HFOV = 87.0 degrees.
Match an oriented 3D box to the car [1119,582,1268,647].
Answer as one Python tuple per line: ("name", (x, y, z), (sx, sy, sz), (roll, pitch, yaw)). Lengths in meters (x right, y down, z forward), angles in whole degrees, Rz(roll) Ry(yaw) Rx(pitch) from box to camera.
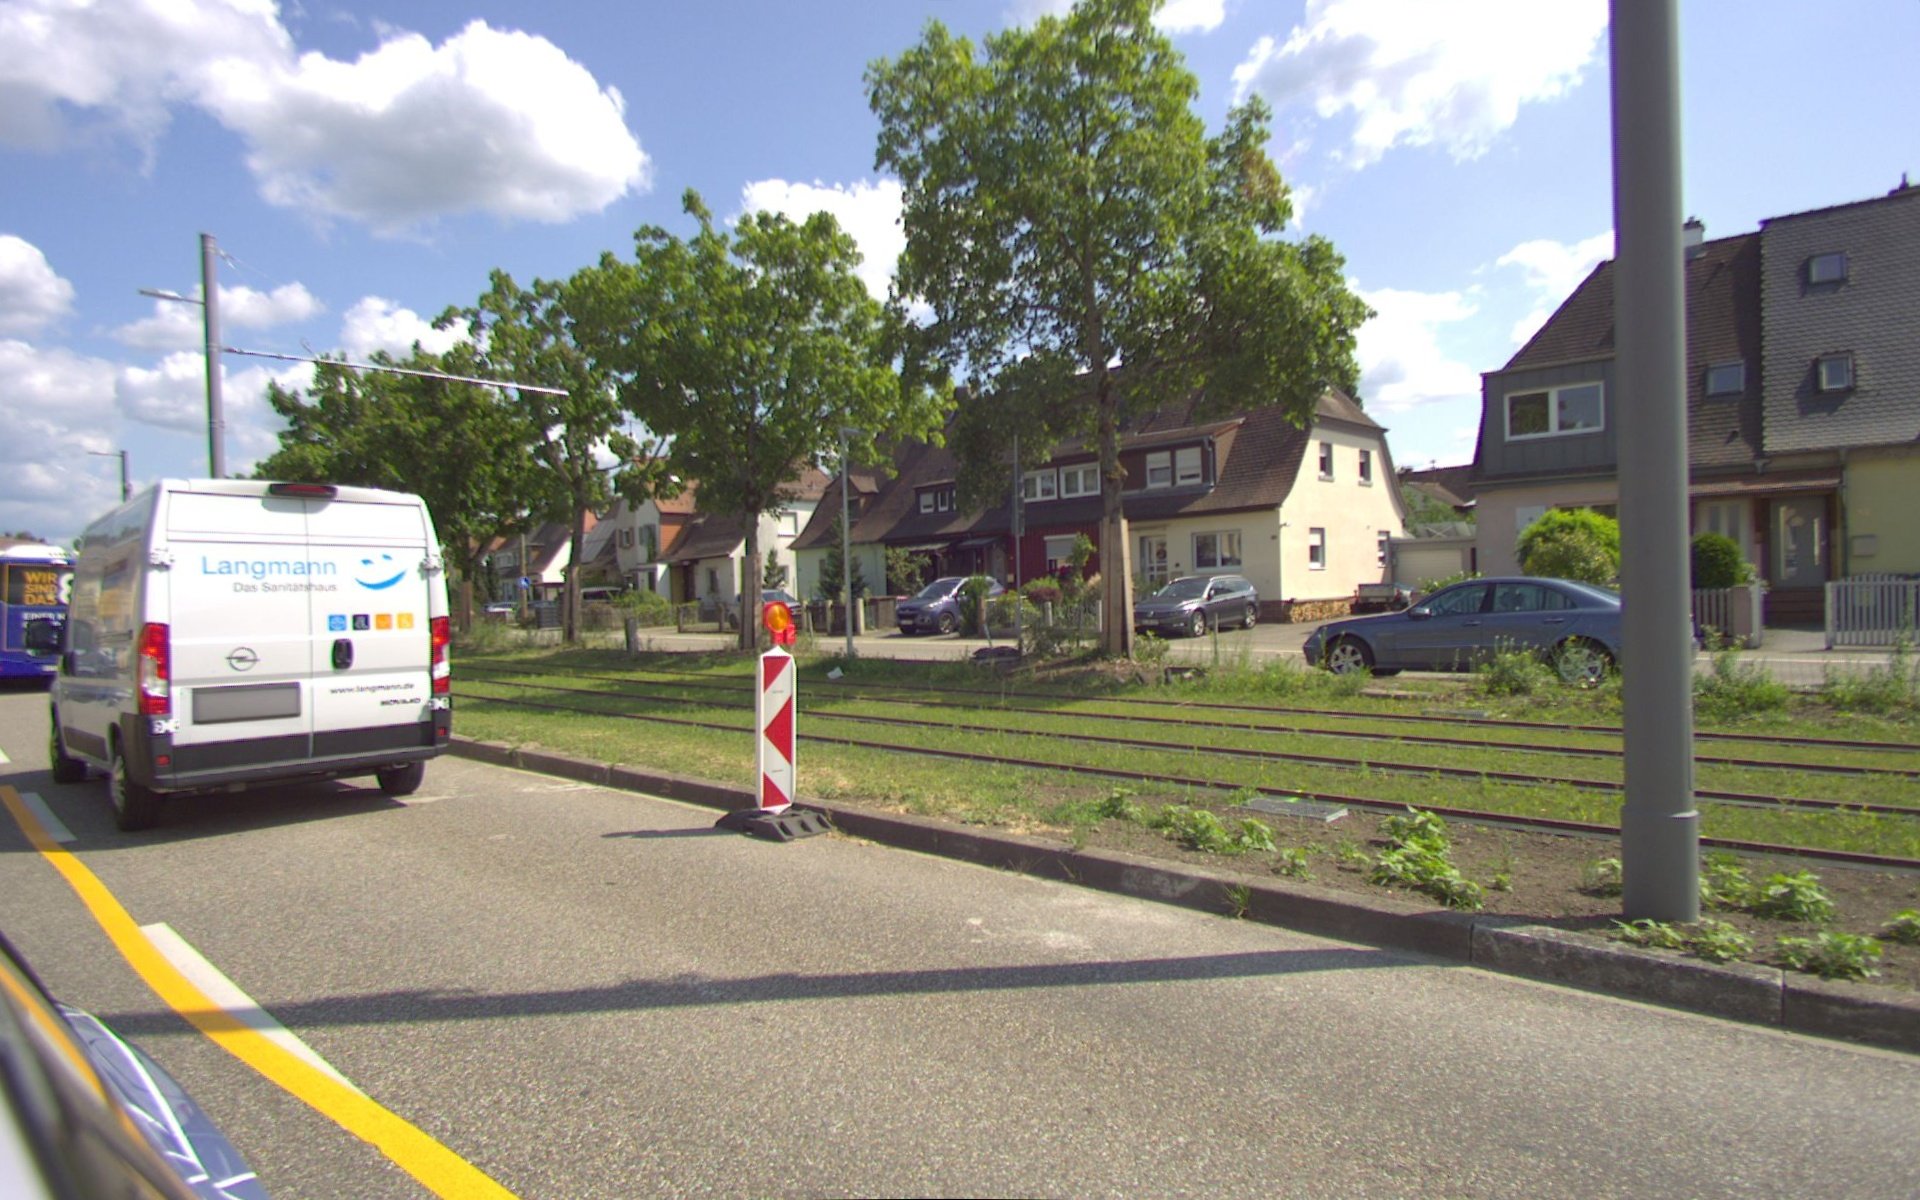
("car", (6.226, 0.340, 26.660), (1.925, 1.535, 4.423), (-2, 0, 42))

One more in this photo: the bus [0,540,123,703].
("bus", (-24.258, 0.612, 26.053), (12.248, 3.438, 2.607), (-2, -2, 43))

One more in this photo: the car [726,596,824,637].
("car", (-7.354, 0.667, 40.044), (4.044, 1.529, 1.709), (-2, 0, 43))

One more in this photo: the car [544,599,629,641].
("car", (-19.722, 1.042, 53.631), (1.934, 1.911, 3.860), (-2, 2, 28))

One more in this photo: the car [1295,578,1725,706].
("car", (7.246, 0.515, 13.685), (4.811, 1.416, 1.800), (-2, 0, 42))

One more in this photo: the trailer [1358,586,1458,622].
("trailer", (14.486, 0.109, 32.648), (1.869, 1.033, 3.946), (-2, 0, 41))

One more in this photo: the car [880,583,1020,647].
("car", (-0.257, 0.448, 32.549), (2.064, 1.850, 4.423), (-2, 0, 42))

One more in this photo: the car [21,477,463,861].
("car", (-6.723, 0.478, 9.138), (5.570, 2.462, 2.080), (-2, 0, 42))
